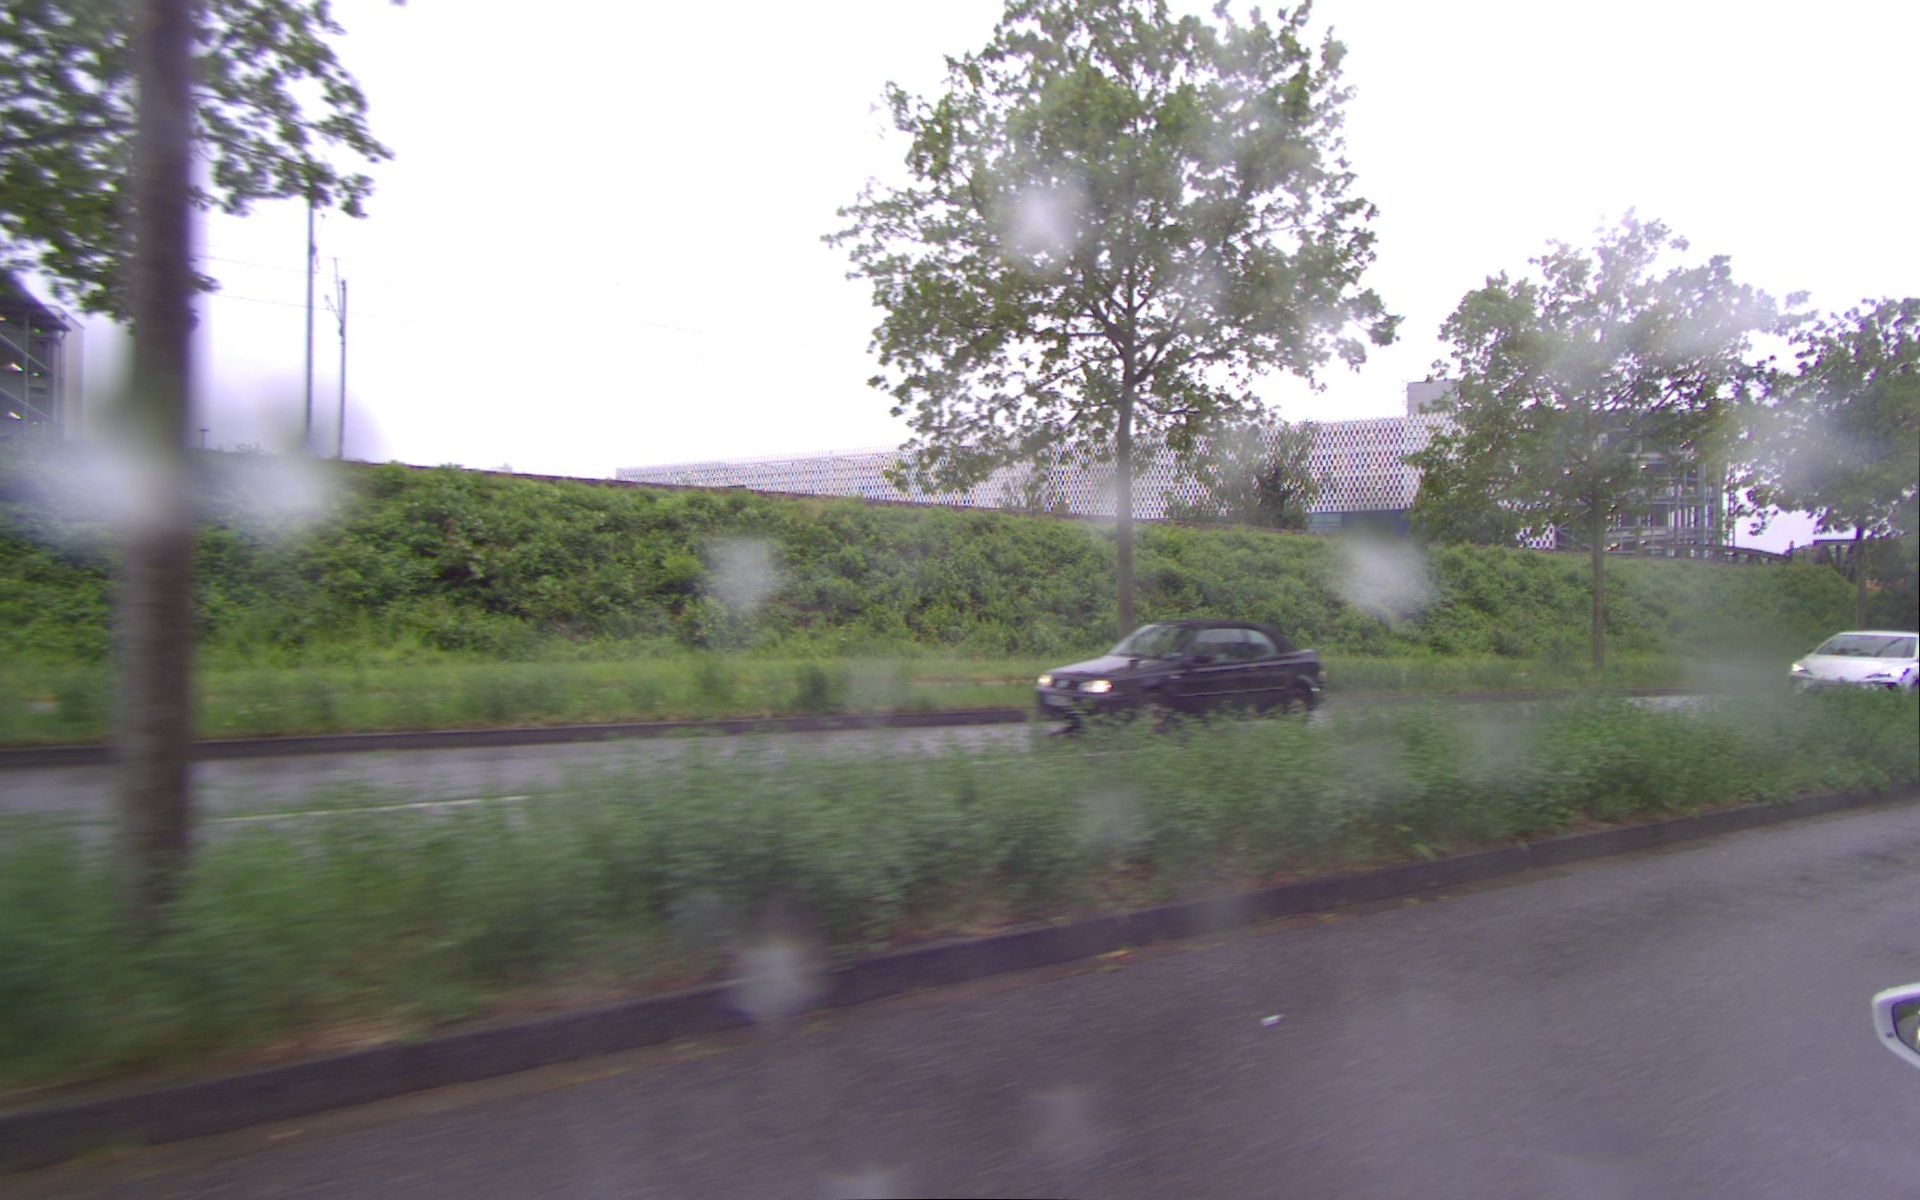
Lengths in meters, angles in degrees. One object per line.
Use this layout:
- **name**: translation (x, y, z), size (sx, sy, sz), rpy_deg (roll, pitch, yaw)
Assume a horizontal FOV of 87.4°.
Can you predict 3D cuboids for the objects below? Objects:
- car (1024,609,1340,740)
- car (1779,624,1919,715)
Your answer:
- **car**: translation (2.922, 0.885, 13.027), size (3.953, 1.445, 1.623), rpy_deg (1, 0, -30)
- **car**: translation (17.508, 1.256, 19.076), size (4.155, 1.515, 1.694), rpy_deg (1, 0, -30)
